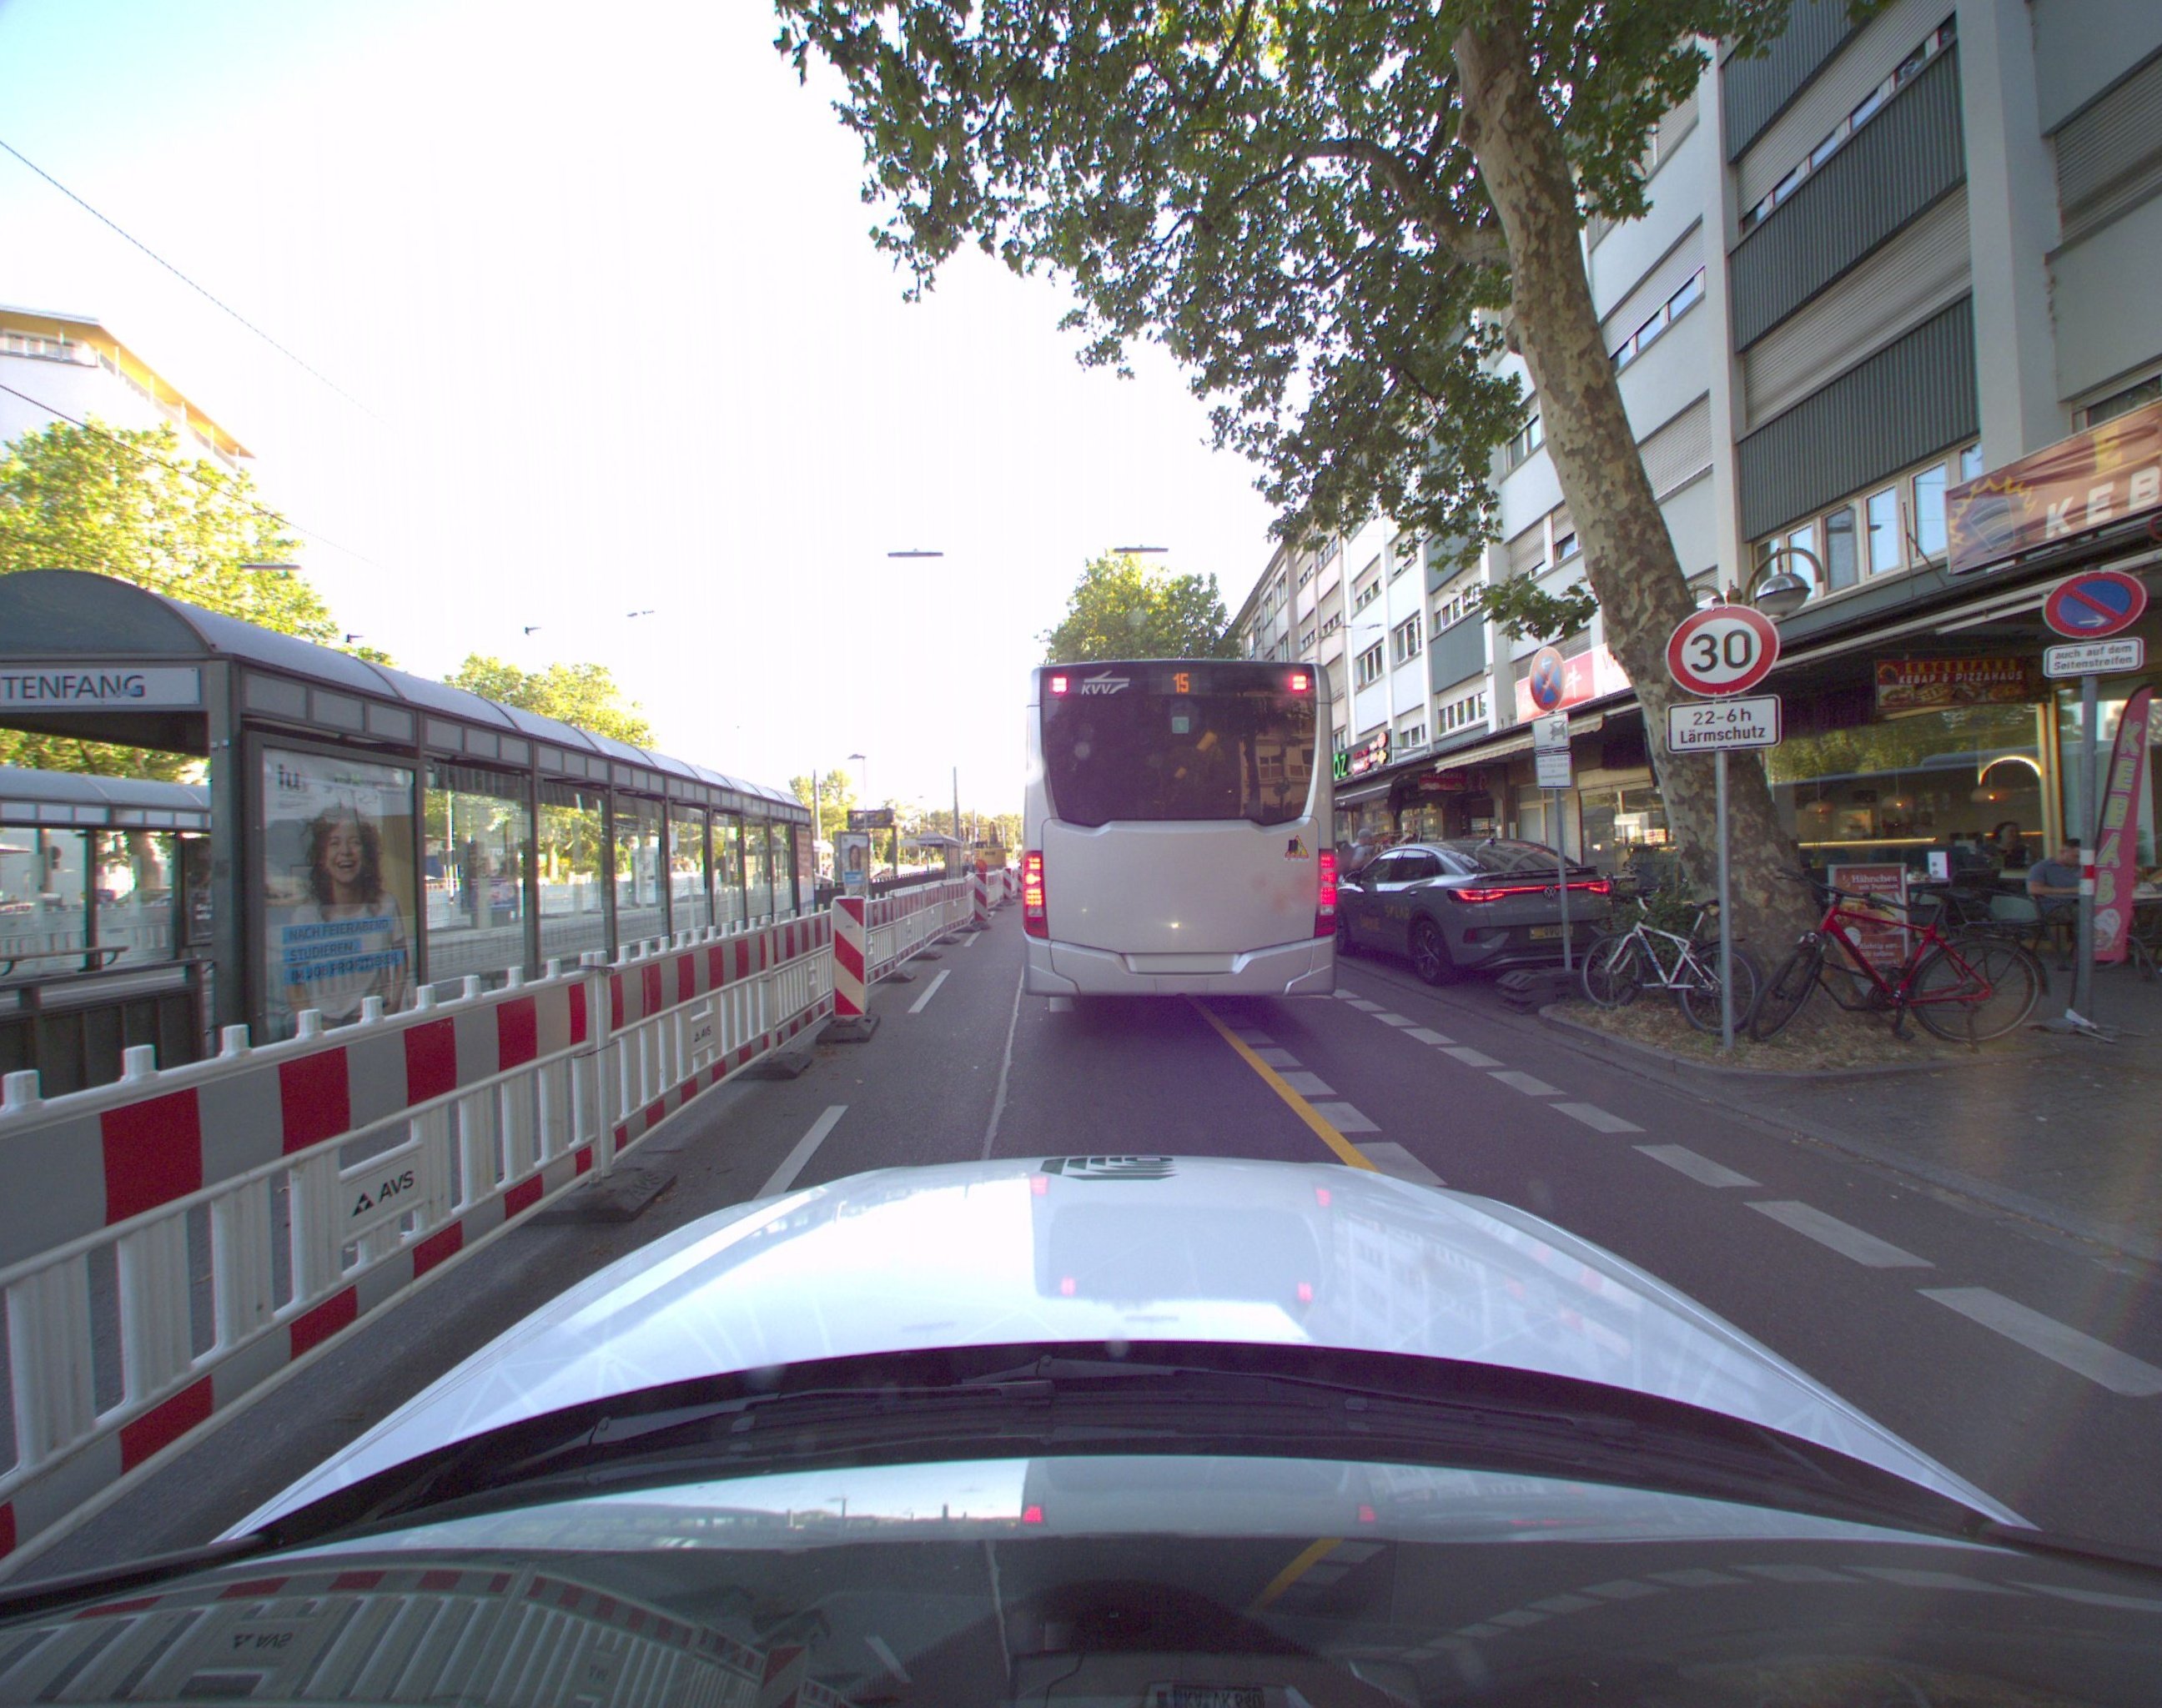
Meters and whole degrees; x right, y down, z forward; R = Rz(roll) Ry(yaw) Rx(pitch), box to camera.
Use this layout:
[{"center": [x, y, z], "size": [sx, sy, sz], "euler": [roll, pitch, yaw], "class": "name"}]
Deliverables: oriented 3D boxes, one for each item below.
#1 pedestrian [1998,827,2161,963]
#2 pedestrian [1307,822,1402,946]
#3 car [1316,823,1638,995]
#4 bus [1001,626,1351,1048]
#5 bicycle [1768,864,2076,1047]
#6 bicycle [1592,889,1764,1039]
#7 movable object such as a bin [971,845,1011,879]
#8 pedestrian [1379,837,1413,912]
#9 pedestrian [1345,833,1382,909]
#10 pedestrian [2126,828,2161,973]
[{"center": [9.626, 0.381, 7.853], "size": [0.673, 1.203, 0.706], "euler": [-5, -1, 11], "class": "pedestrian"}, {"center": [4.406, 0.462, 13.205], "size": [1.116, 1.890, 1.024], "euler": [-2, -1, -2], "class": "pedestrian"}, {"center": [4.607, 0.559, 10.319], "size": [1.736, 1.597, 4.294], "euler": [-4, 0, -3], "class": "car"}, {"center": [0.920, -0.124, 11.367], "size": [2.598, 3.170, 10.297], "euler": [-1, 0, 2], "class": "bus"}, {"center": [5.497, 0.672, 5.376], "size": [1.450, 1.066, 0.297], "euler": [-6, 2, 13], "class": "bicycle"}, {"center": [4.484, 0.784, 6.194], "size": [0.294, 0.927, 1.127], "euler": [-6, 2, -8], "class": "bicycle"}, {"center": [-7.046, 0.600, 64.012], "size": [2.800, 2.462, 3.995], "euler": [-2, 0, -3], "class": "movable object such as a bin"}, {"center": [8.617, 0.550, 22.289], "size": [0.610, 2.014, 0.696], "euler": [-2, -1, 0], "class": "pedestrian"}, {"center": [7.717, 0.463, 22.251], "size": [0.688, 2.014, 0.696], "euler": [-2, -1, 0], "class": "pedestrian"}, {"center": [9.564, 0.385, 6.816], "size": [0.612, 1.243, 0.714], "euler": [-5, -1, 11], "class": "pedestrian"}]
